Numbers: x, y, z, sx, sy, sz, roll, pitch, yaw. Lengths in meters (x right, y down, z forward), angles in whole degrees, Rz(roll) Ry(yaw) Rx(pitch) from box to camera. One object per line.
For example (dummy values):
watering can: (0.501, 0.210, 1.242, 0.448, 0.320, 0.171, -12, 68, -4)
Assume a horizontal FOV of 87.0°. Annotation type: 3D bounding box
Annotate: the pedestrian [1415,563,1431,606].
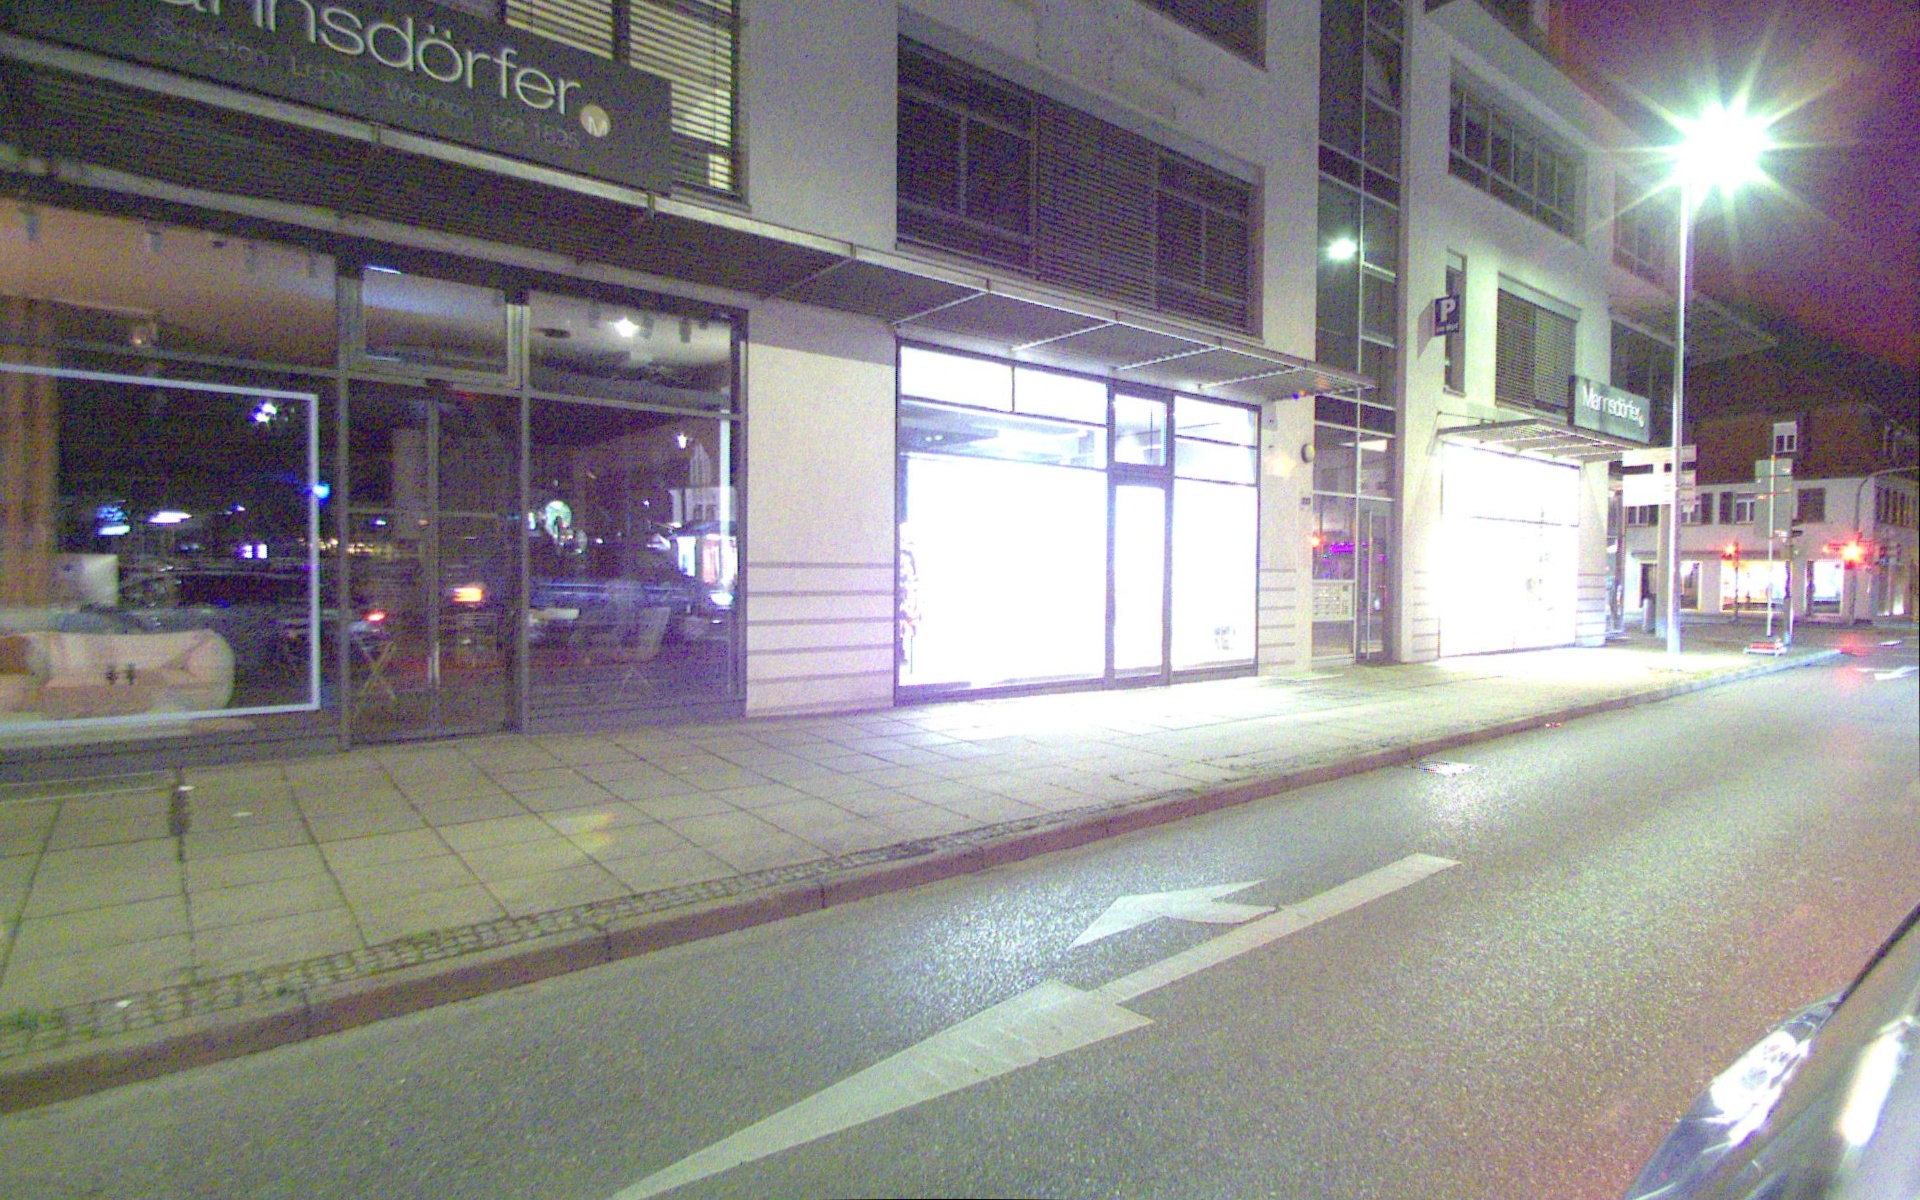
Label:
pedestrian: (19.174, -0.640, 41.938, 0.518, 1.738, 0.563, 0, 0, 19)
